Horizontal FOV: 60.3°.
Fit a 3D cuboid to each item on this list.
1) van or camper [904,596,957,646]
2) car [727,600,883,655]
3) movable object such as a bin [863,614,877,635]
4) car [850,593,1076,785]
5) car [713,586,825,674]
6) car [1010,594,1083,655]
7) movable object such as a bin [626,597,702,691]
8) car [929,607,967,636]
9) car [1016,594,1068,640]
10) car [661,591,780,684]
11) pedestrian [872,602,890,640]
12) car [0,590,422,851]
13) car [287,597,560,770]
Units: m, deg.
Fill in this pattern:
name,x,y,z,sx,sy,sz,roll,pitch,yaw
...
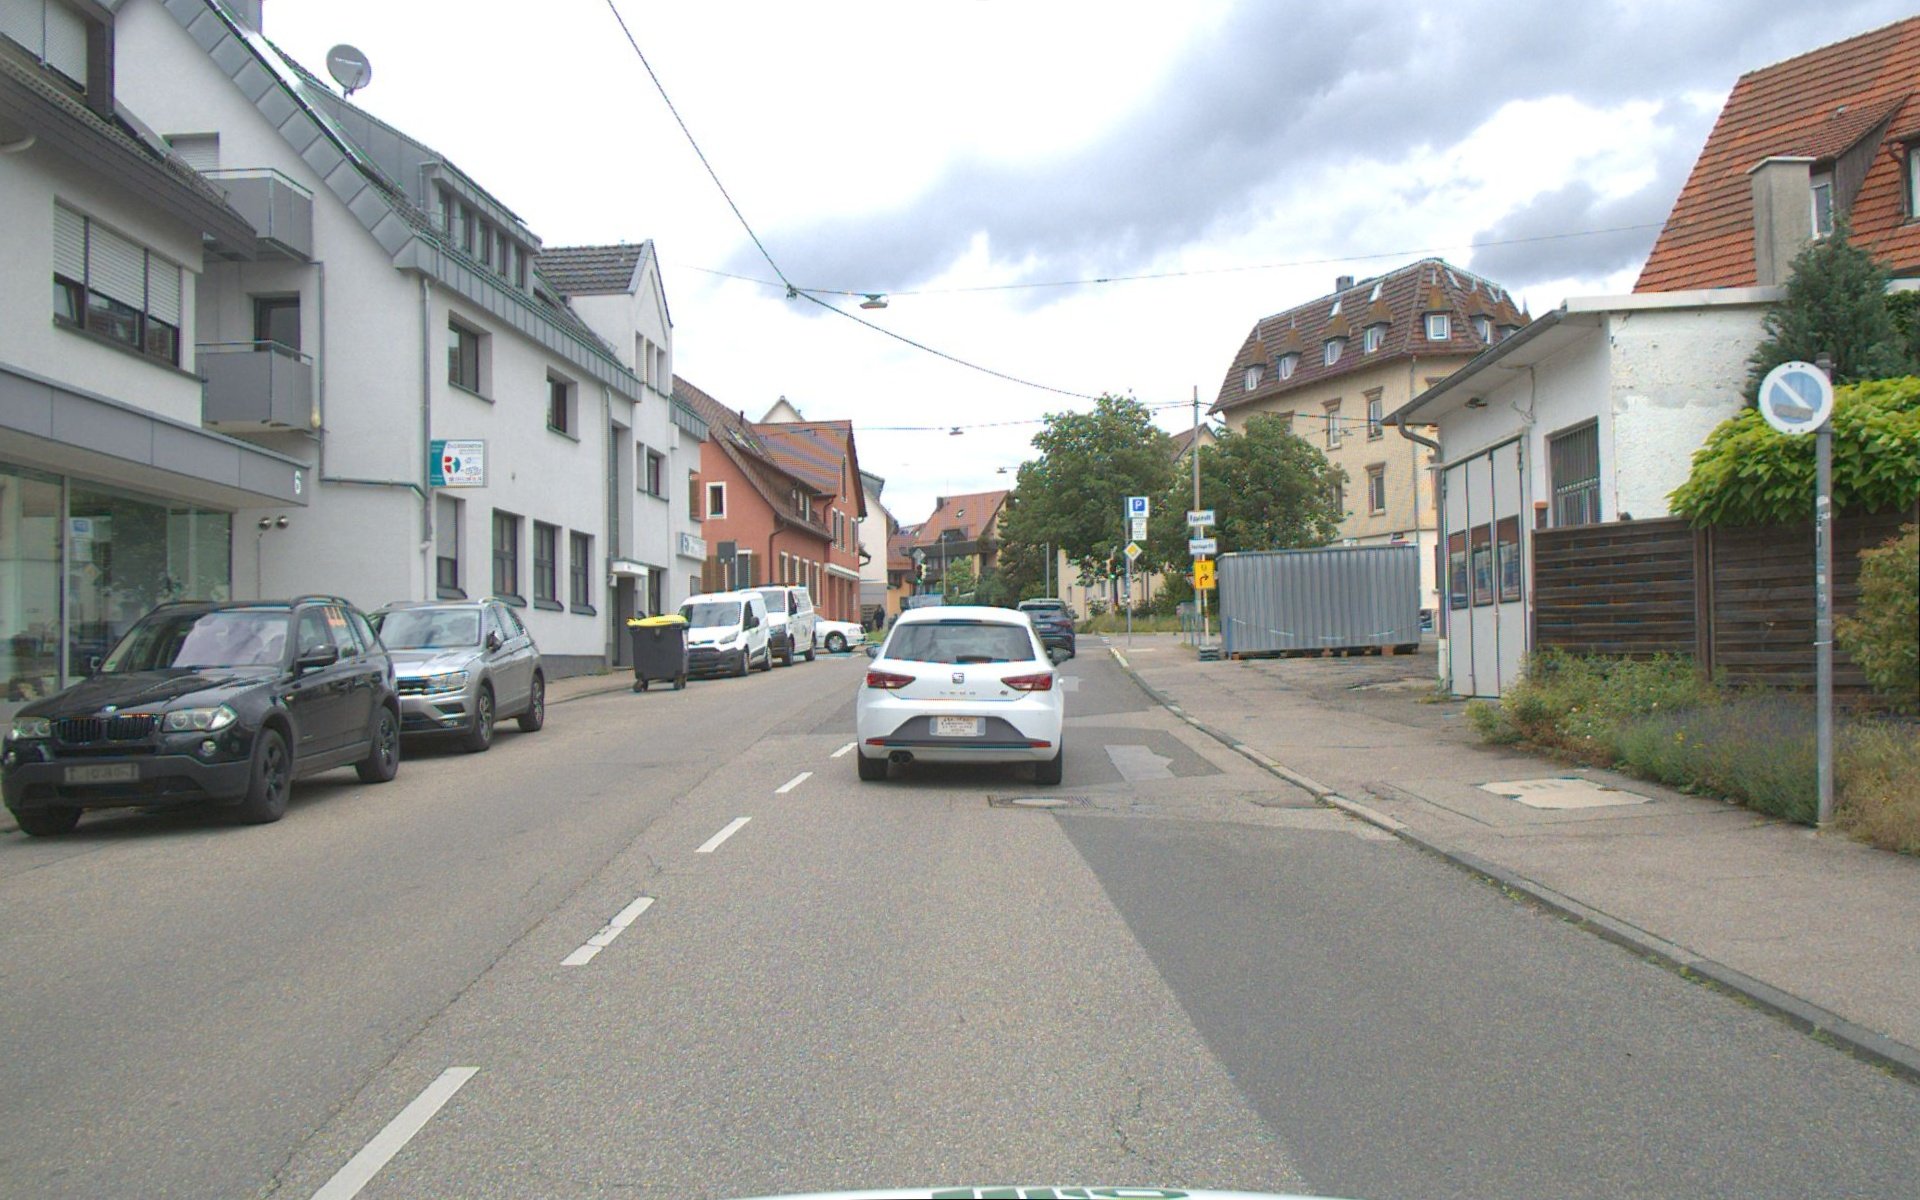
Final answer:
name,x,y,z,sx,sy,sz,roll,pitch,yaw
van or camper,-1.321,1.010,76.458,2.030,2.041,4.859,-3,-3,3
car,-4.823,0.839,51.721,4.457,1.470,2.001,-3,0,7
movable object such as a bin,-4.614,1.249,84.992,0.652,1.036,0.795,-2,0,0
car,0.160,0.711,14.905,1.721,1.477,4.002,-1,-1,4
car,-4.784,0.713,42.127,1.774,2.040,4.766,-3,0,6
car,2.196,0.660,42.779,1.722,1.477,4.000,-1,-2,1
movable object such as a bin,-5.465,0.792,30.615,1.117,1.661,1.562,-2,0,-3
car,-0.726,1.263,96.397,1.958,1.662,4.853,0,-1,-4
car,2.806,0.608,56.640,1.722,1.477,4.001,-1,-2,3
car,-5.220,0.777,36.596,1.697,1.863,4.299,-3,0,3
pedestrian,-3.809,1.017,79.780,0.783,1.816,0.893,-1,-1,3
car,-5.861,0.804,13.191,1.801,1.661,4.406,-3,0,-3
car,-5.943,0.836,18.888,1.801,1.661,4.406,-2,0,-3
